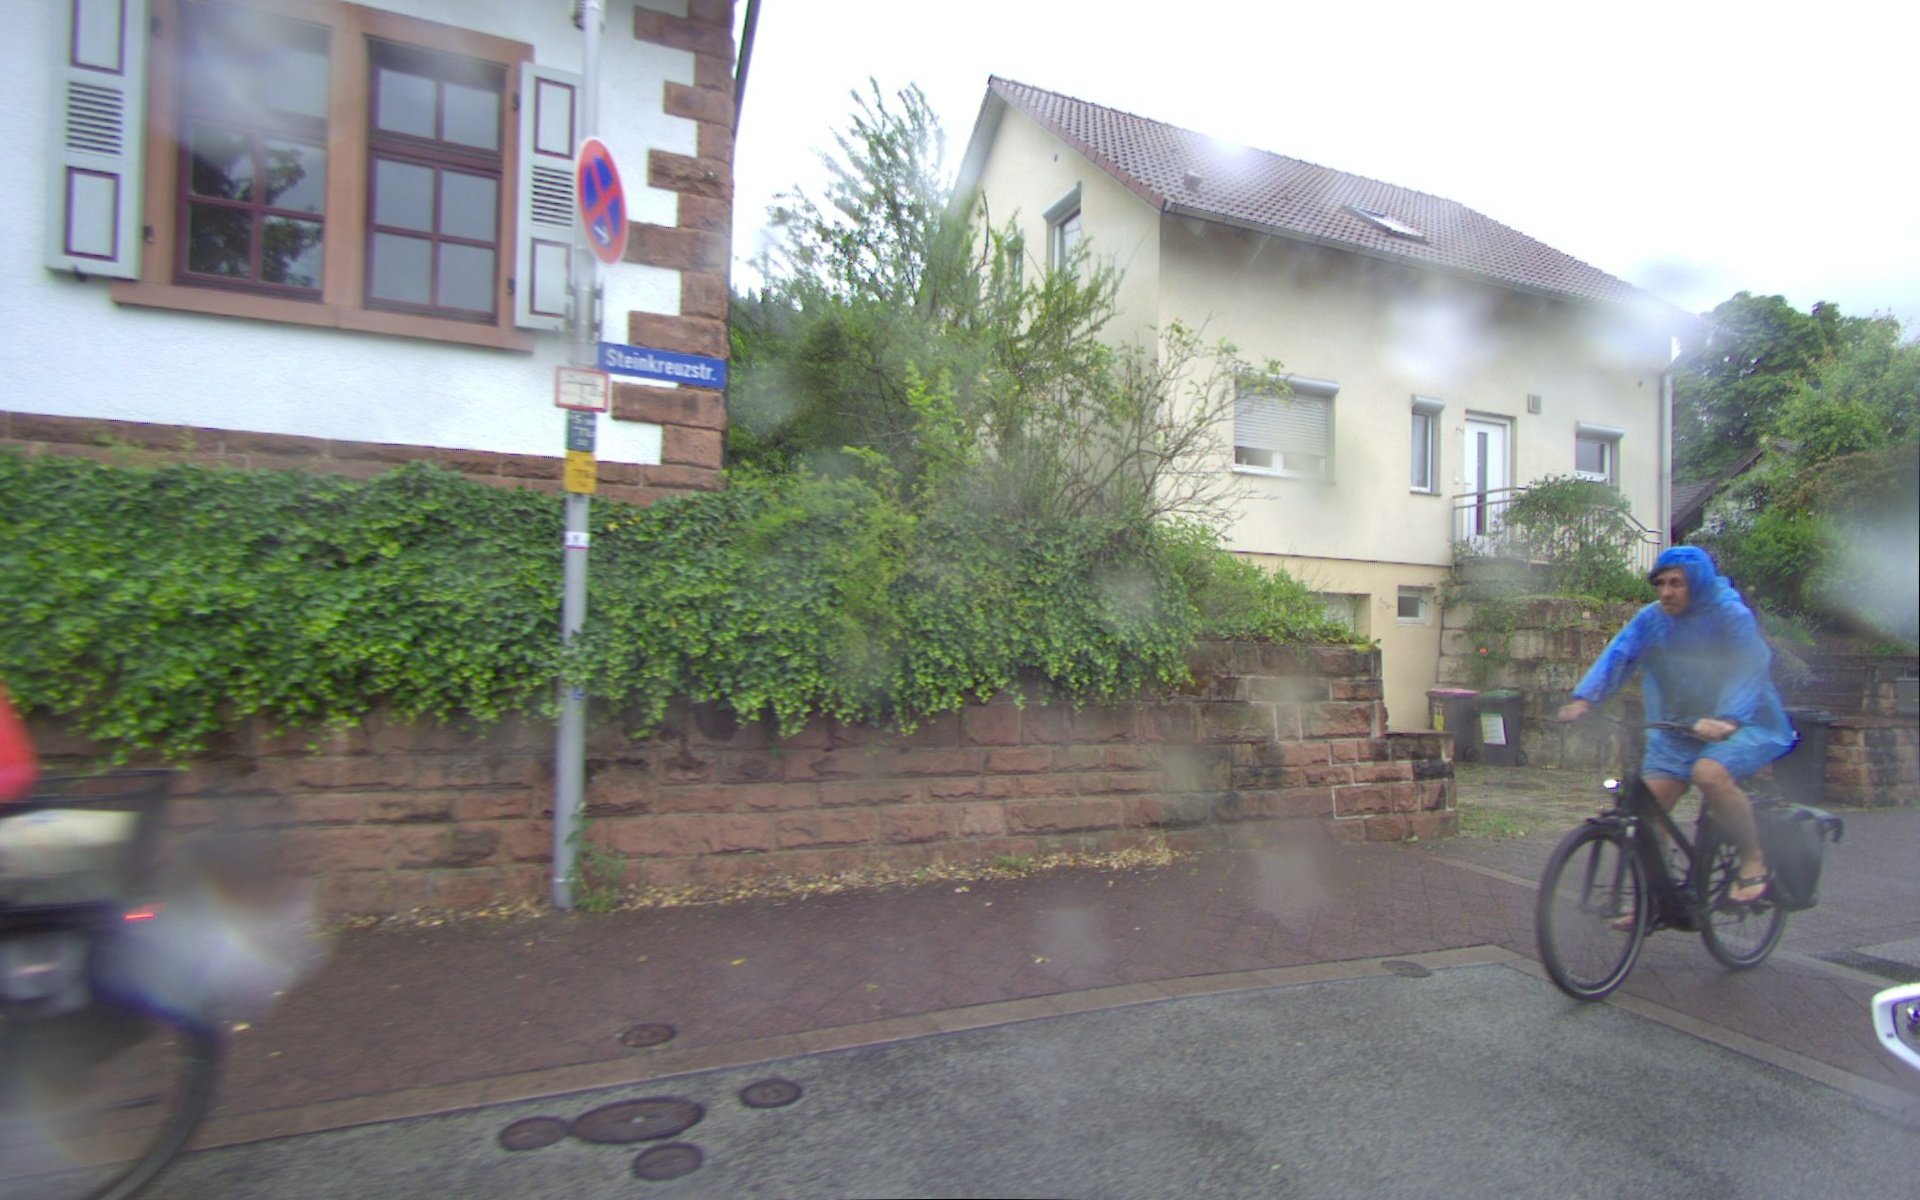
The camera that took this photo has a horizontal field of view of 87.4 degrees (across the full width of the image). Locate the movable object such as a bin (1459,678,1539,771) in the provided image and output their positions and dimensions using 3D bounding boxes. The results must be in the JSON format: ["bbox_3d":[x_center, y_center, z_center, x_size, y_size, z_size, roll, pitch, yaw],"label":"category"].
[{"bbox_3d":[6.845,1.562,12.765,0.646,1.077,0.621,-1,0,-22],"label":"movable object such as a bin"}]

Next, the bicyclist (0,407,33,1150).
[{"bbox_3d":[-2.575,0.429,2.139,0.693,1.793,0.655,0,0,-23],"label":"bicyclist"}]

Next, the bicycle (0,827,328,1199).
[{"bbox_3d":[-2.544,1.081,2.166,1.907,0.882,0.660,0,0,-23],"label":"bicycle"}]

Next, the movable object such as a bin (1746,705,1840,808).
[{"bbox_3d":[8.329,1.550,10.046,0.537,0.942,0.536,3,-1,-25],"label":"movable object such as a bin"}]

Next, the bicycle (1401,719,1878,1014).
[{"bbox_3d":[3.183,1.122,4.650,2.306,1.064,0.679,3,-1,-23],"label":"bicycle"}]

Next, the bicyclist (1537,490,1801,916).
[{"bbox_3d":[3.192,0.437,4.552,0.693,1.735,0.686,3,-1,-23],"label":"bicyclist"}]

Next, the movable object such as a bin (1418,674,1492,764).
[{"bbox_3d":[6.586,1.563,13.380,0.639,1.122,0.606,1,0,-17],"label":"movable object such as a bin"}]
